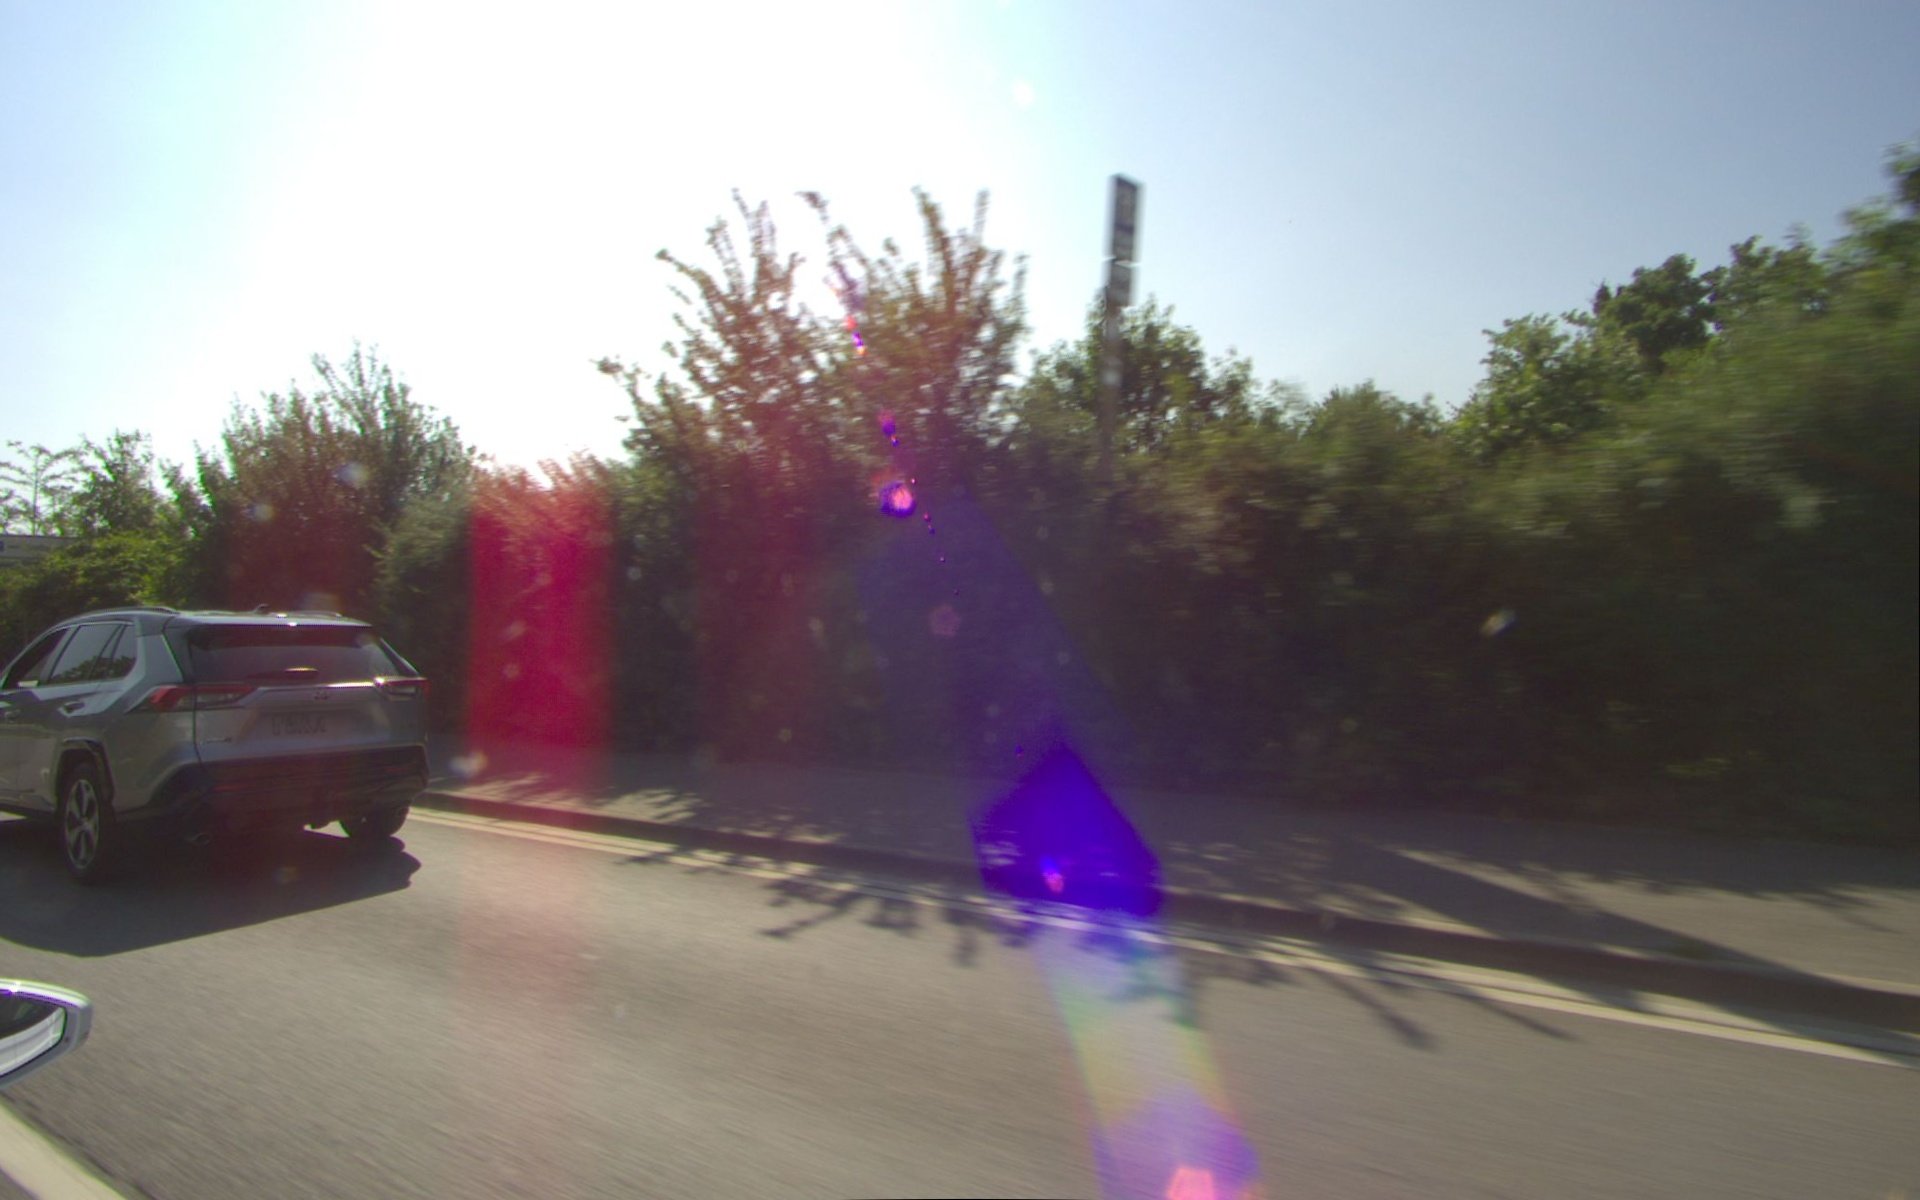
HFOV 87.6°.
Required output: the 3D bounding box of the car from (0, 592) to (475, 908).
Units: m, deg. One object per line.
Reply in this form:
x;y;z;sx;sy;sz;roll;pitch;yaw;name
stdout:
-5.851;0.903;7.441;4.617;1.701;1.899;-2;-2;32;car
